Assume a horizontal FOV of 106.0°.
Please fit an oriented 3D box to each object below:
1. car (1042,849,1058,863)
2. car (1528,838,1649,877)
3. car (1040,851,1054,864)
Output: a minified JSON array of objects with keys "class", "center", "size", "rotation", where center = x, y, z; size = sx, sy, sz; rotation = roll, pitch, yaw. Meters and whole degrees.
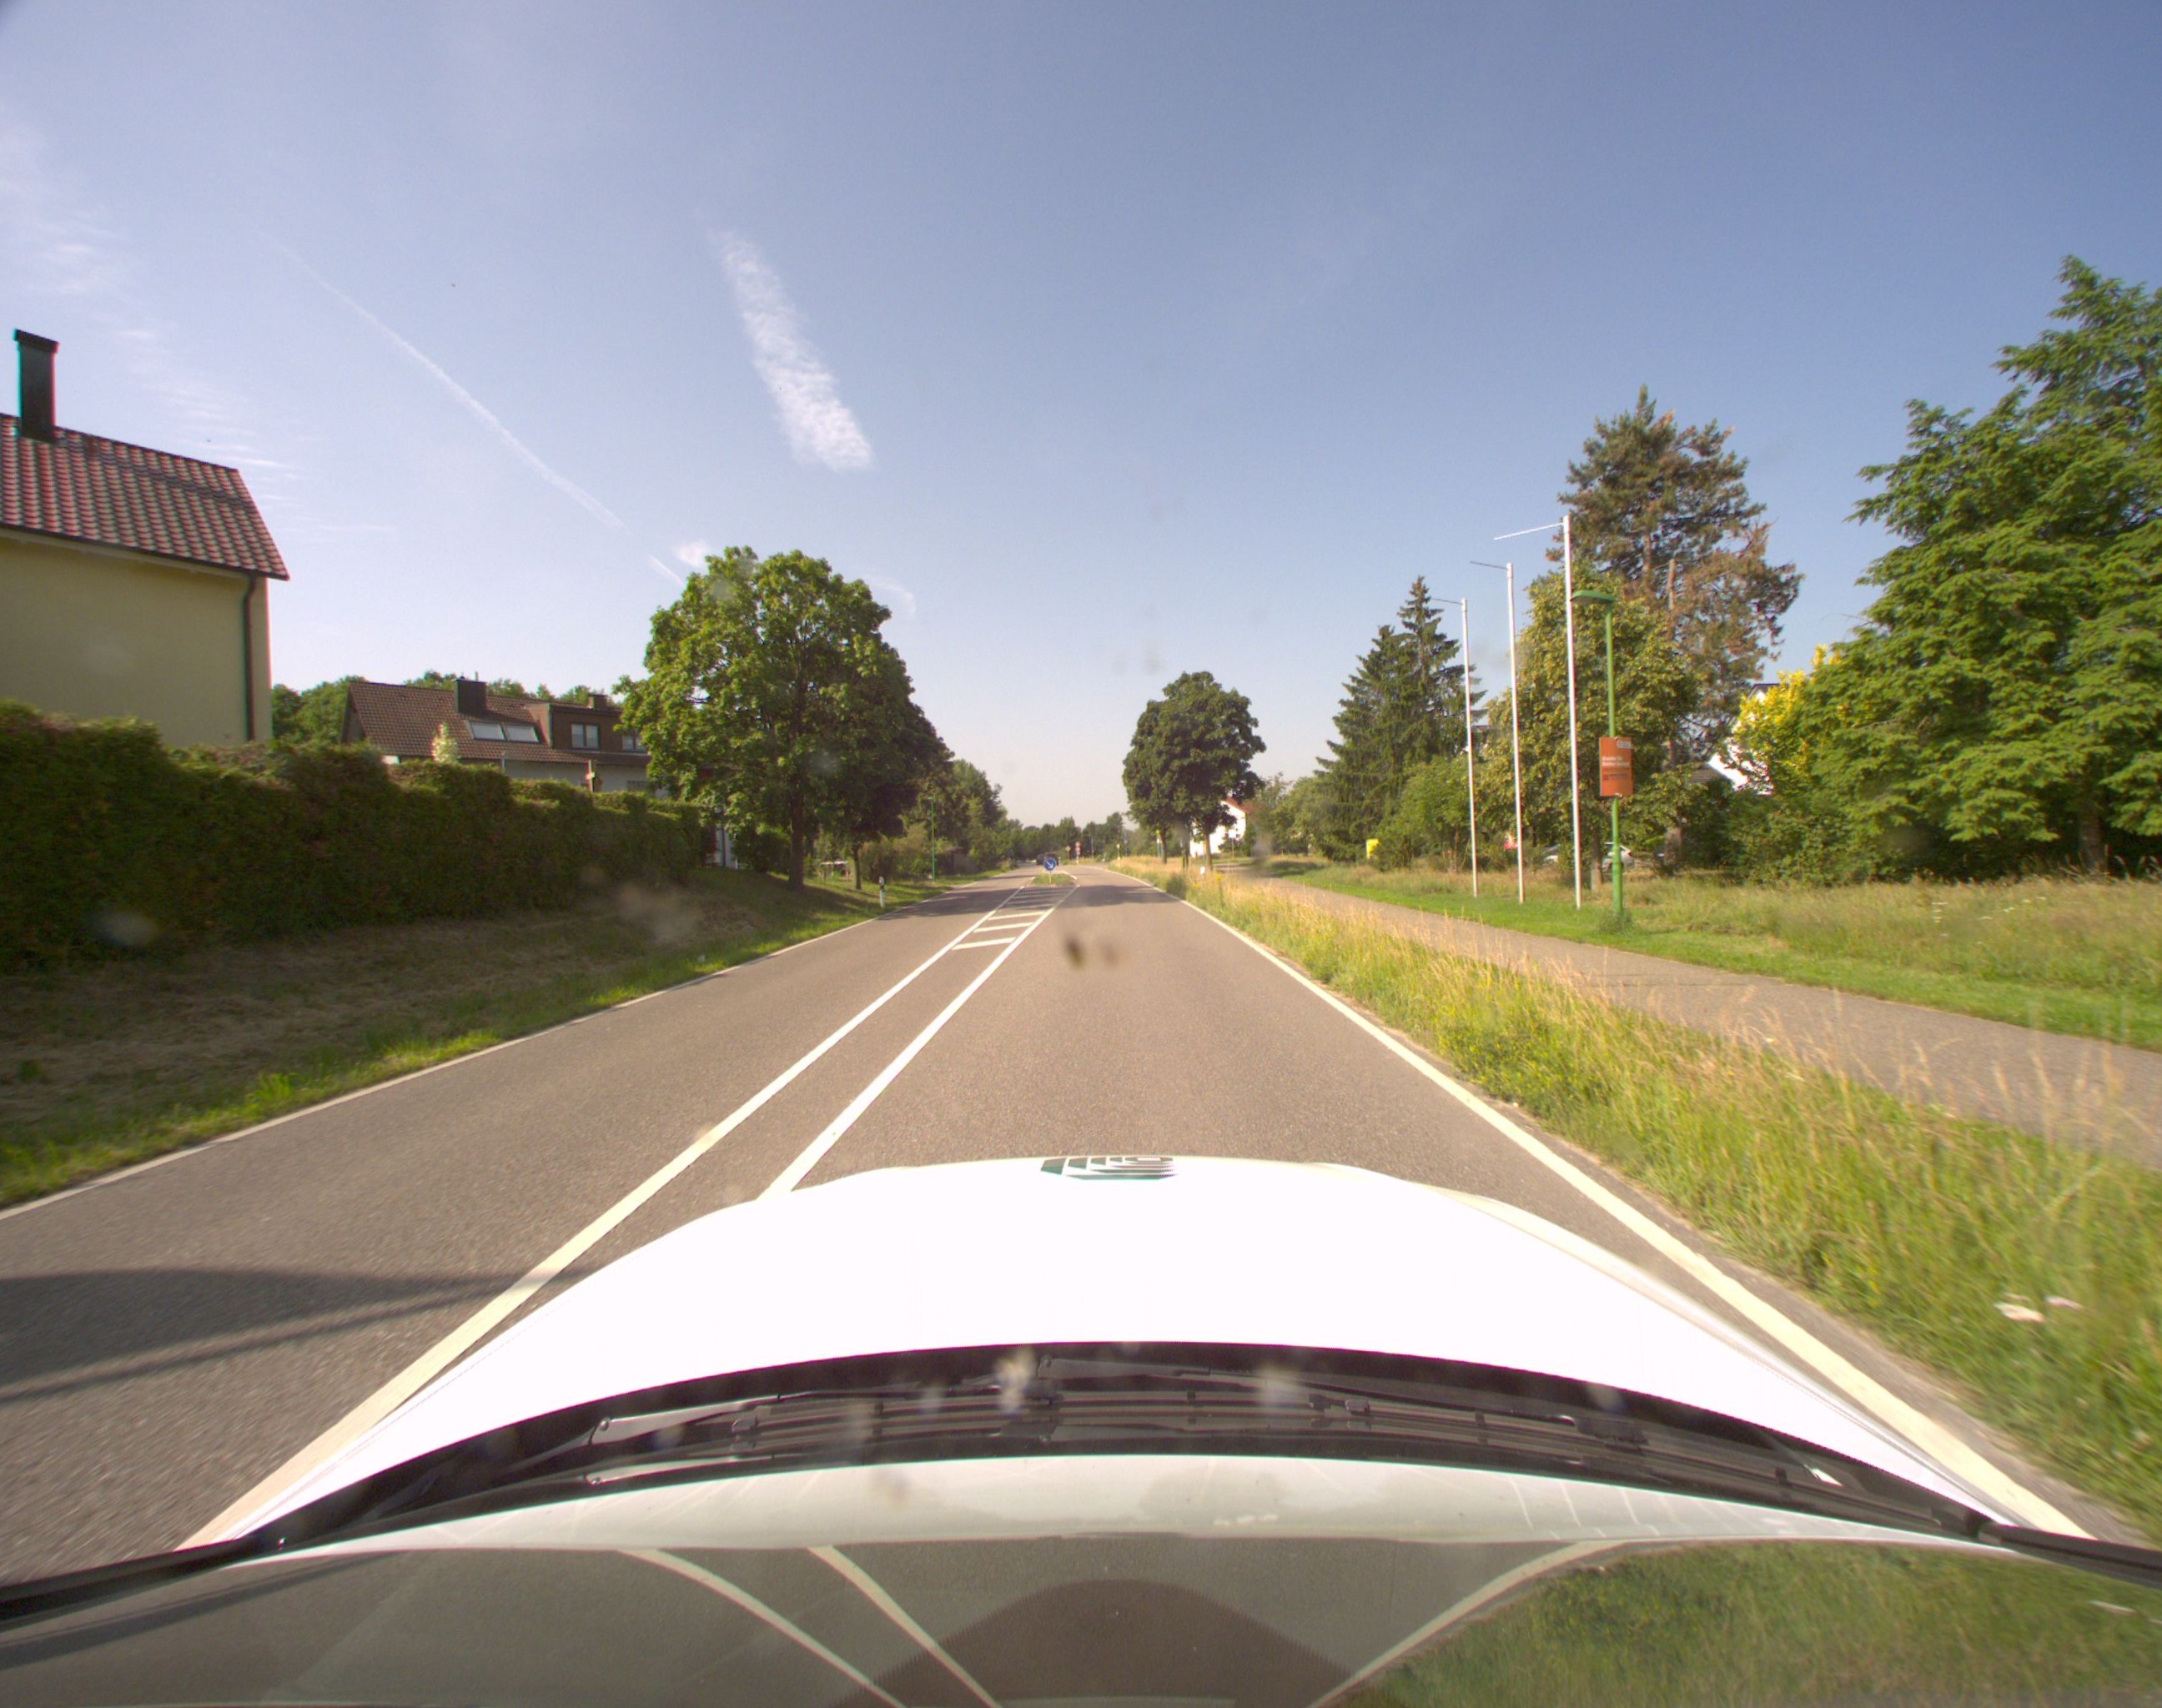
[{"class":"car","center":[-4.039,0.228,106.103],"size":[1.921,1.771,3.995],"rotation":[-2,1,-3]},{"class":"car","center":[20.971,0.136,33.744],"size":[3.982,1.434,1.811],"rotation":[-2,0,-7]},{"class":"car","center":[-5.291,0.526,125.655],"size":[2.001,1.771,3.993],"rotation":[-2,1,-5]}]
